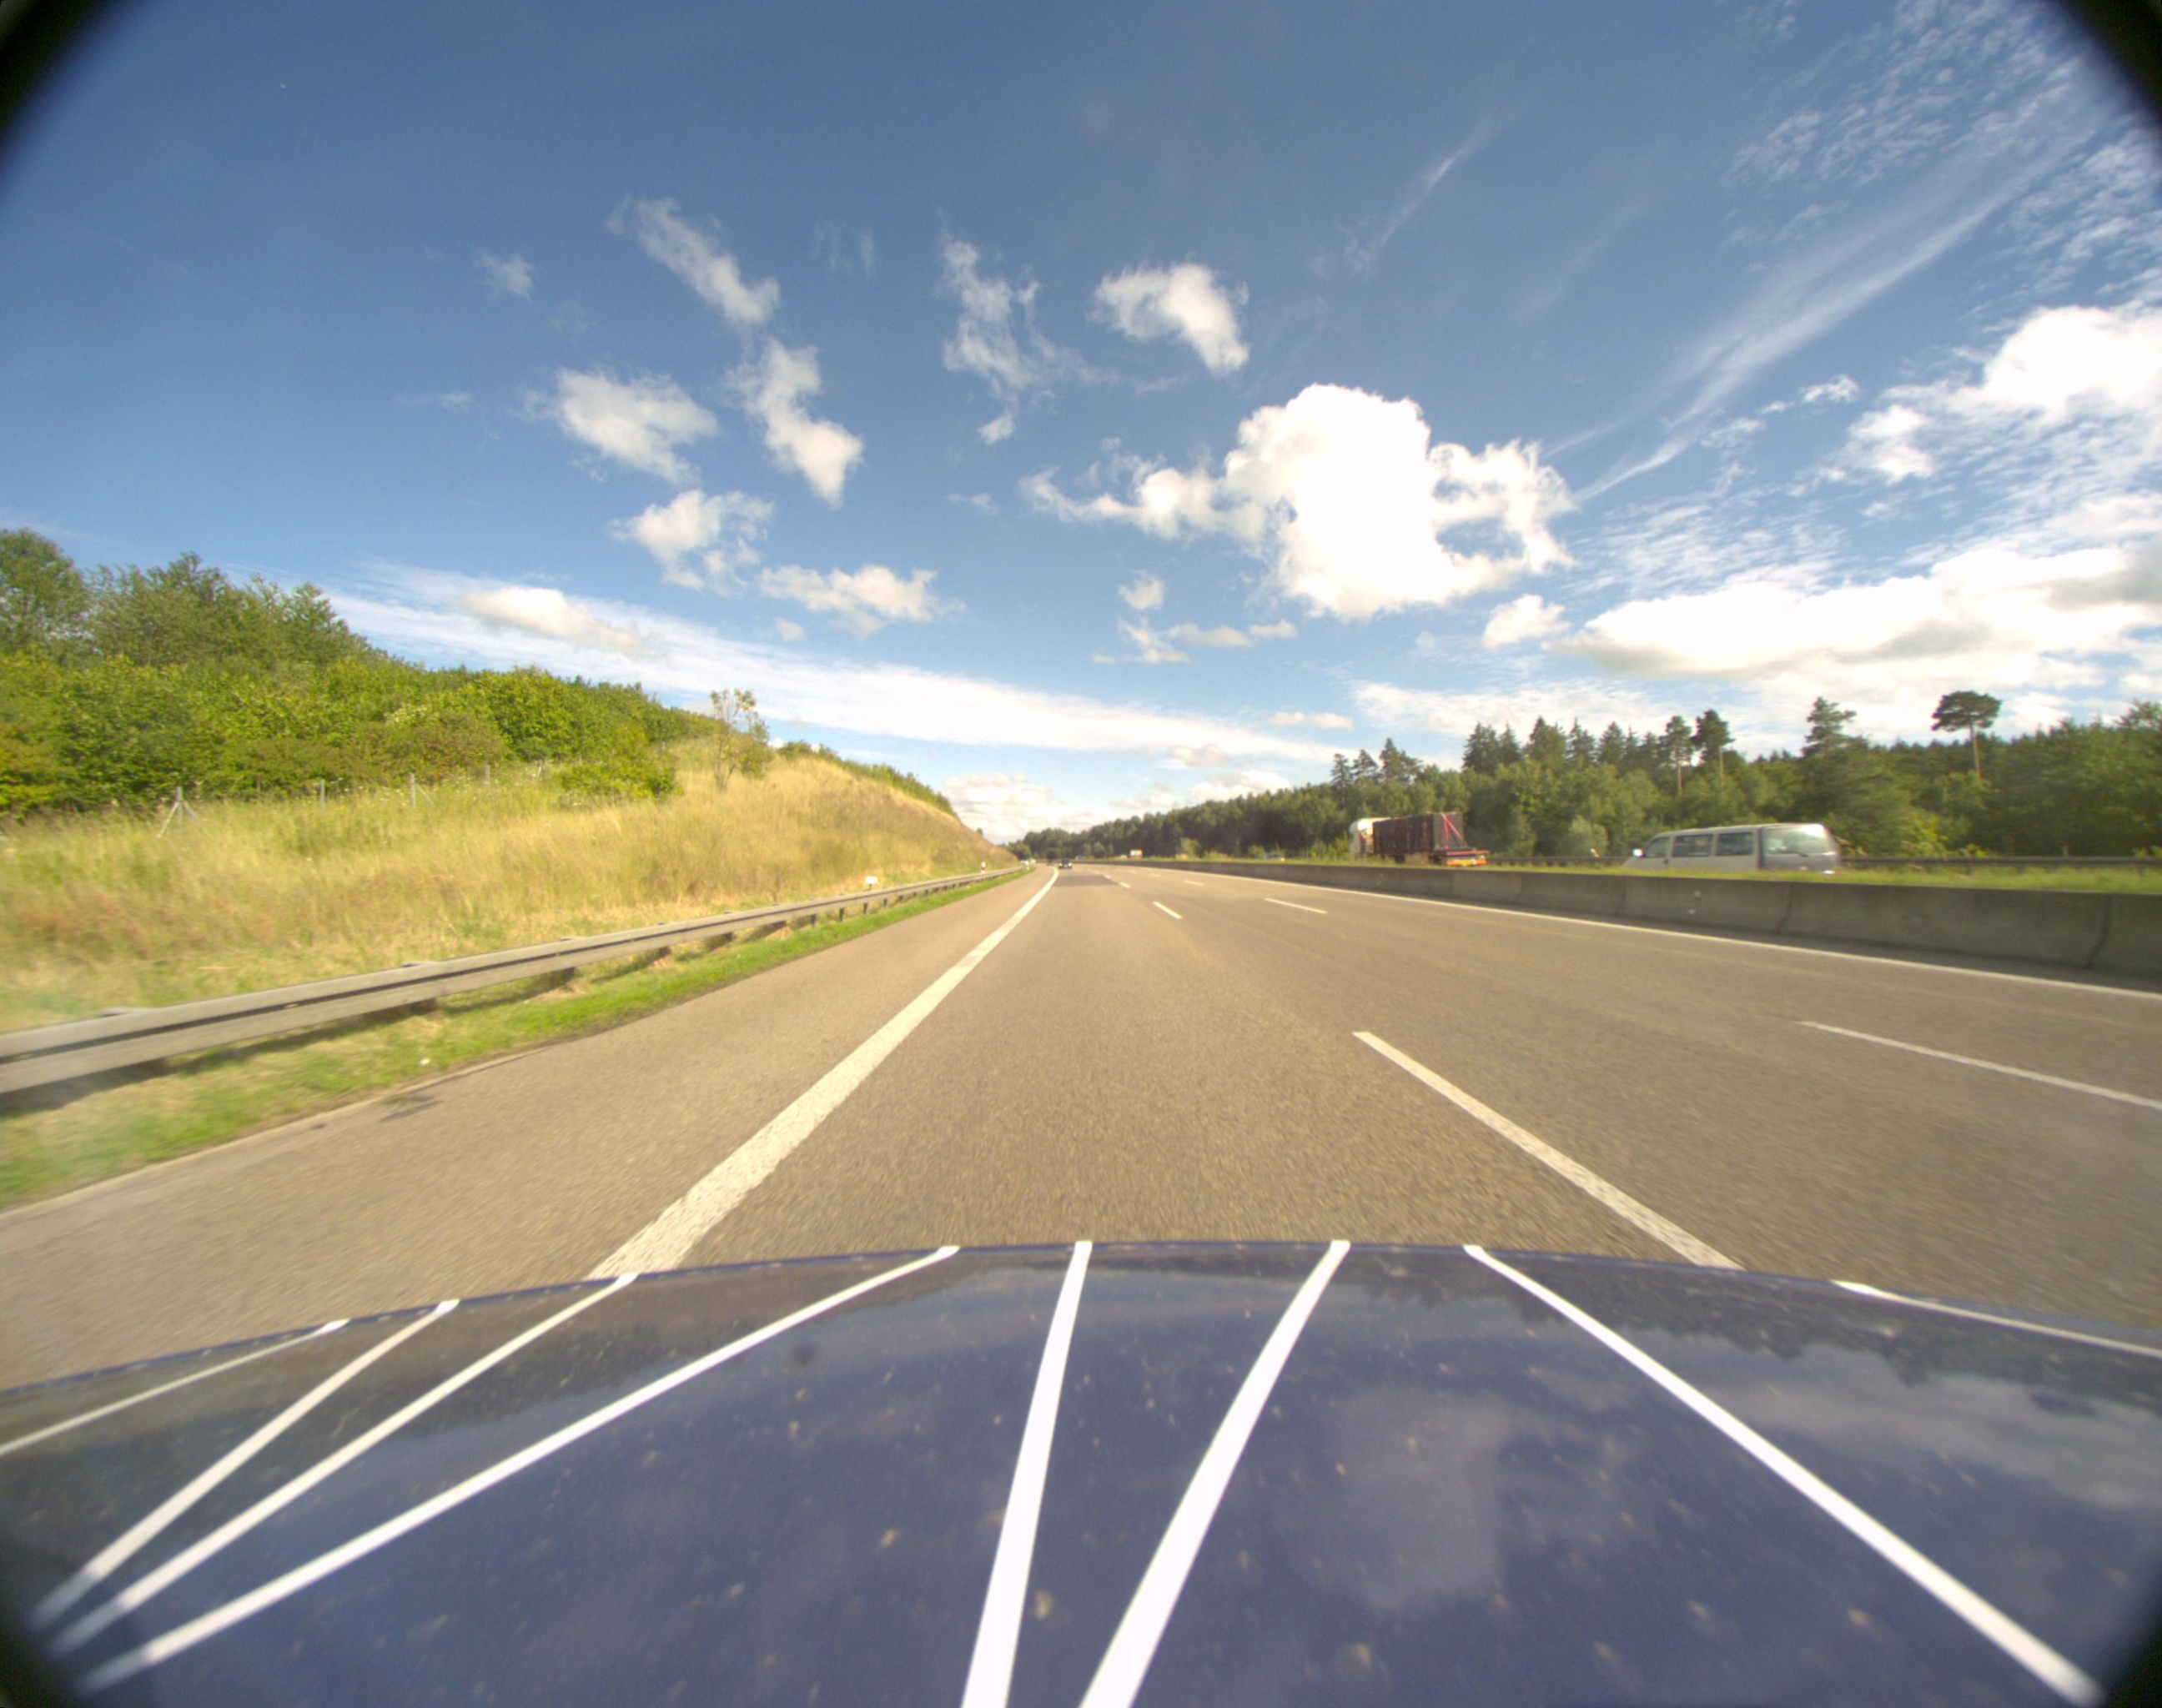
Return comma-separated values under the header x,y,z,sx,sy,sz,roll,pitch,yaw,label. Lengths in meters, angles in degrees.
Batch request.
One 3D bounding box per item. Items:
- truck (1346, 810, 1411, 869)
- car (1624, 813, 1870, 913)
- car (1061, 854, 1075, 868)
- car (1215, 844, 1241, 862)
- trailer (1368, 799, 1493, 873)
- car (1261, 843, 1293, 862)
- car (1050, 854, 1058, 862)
x,y,z,sx,sy,sz,roll,pitch,yaw,label
23.271,-1.118,59.704,2.809,4.366,5.463,-2,0,-1,truck
15.370,0.173,17.934,1.998,2.002,4.352,-2,0,1,car
-1.811,1.028,106.997,1.998,1.827,3.999,-2,1,0,car
15.593,-0.094,80.693,1.998,1.792,4.000,-2,0,0,car
23.353,-1.092,51.881,2.809,4.366,12.048,-2,0,-1,trailer
19.207,-0.165,74.631,1.998,1.792,4.000,-2,0,0,car
-7.234,0.978,203.276,2.000,2.002,3.997,-2,1,-6,car
